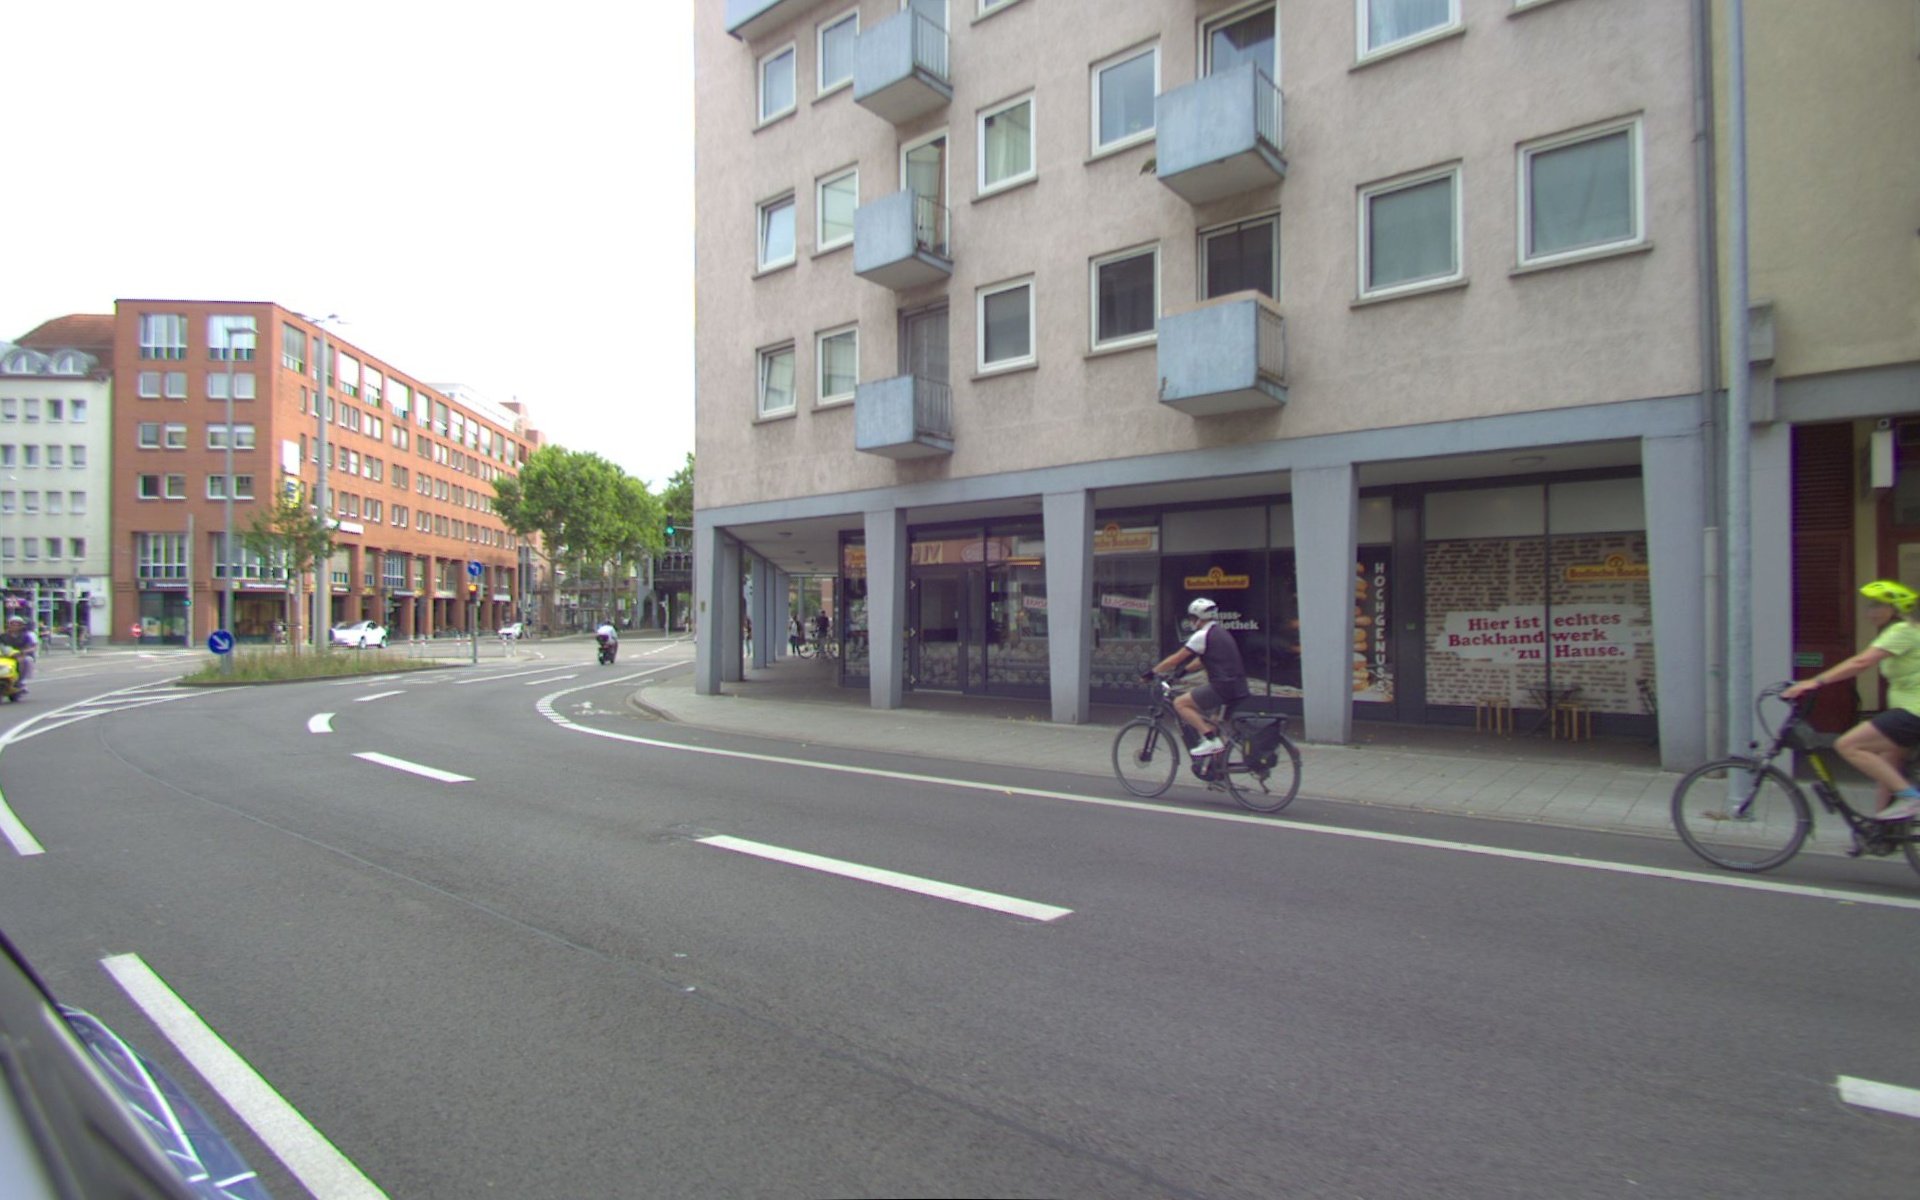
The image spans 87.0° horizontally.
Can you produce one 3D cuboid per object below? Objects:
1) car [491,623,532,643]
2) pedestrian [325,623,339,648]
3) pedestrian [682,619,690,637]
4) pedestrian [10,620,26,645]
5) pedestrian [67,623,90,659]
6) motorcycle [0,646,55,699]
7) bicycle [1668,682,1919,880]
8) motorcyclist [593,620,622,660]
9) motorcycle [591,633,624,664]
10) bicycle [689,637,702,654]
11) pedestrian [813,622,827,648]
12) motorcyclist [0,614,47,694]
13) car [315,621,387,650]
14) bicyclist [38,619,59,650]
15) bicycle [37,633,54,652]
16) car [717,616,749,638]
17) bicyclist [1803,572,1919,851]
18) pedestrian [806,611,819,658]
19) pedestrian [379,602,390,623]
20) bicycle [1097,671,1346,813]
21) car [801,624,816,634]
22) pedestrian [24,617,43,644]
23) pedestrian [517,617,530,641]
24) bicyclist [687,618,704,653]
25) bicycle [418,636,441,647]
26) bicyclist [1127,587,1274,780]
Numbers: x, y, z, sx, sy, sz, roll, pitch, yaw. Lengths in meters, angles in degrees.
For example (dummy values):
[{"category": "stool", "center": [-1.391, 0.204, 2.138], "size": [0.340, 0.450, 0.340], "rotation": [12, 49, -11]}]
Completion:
[{"category": "car", "center": [-37.512, 2.728, 84.736], "size": [1.929, 1.613, 4.004], "rotation": [0, -1, -5]}, {"category": "pedestrian", "center": [-43.455, 2.447, 70.059], "size": [0.631, 1.700, 0.601], "rotation": [0, -2, -6]}, {"category": "pedestrian", "center": [-24.774, 2.528, 91.455], "size": [0.648, 1.549, 0.560], "rotation": [0, 0, -9]}, {"category": "pedestrian", "center": [-58.143, 2.020, 62.464], "size": [0.627, 1.523, 0.586], "rotation": [-2, -2, 32]}, {"category": "pedestrian", "center": [-45.459, 2.110, 52.211], "size": [0.560, 1.838, 0.696], "rotation": [0, -2, -6]}, {"category": "motorcycle", "center": [-18.787, 1.419, 19.925], "size": [0.561, 0.975, 2.019], "rotation": [0, -2, -15]}, {"category": "bicycle", "center": [5.525, 1.024, 5.830], "size": [2.252, 1.014, 0.729], "rotation": [-3, -2, 44]}, {"category": "motorcyclist", "center": [-13.069, 1.480, 37.518], "size": [0.786, 1.471, 0.866], "rotation": [2, -2, -5]}, {"category": "motorcycle", "center": [-13.072, 1.798, 37.577], "size": [0.712, 1.103, 2.039], "rotation": [2, -3, -7]}, {"category": "bicycle", "center": [-12.981, 2.202, 49.673], "size": [0.403, 0.801, 2.001], "rotation": [0, -2, -9]}, {"category": "pedestrian", "center": [-8.194, 2.063, 59.230], "size": [0.787, 1.484, 0.685], "rotation": [0, -2, -5]}, {"category": "motorcyclist", "center": [-18.762, 1.050, 19.851], "size": [0.857, 1.528, 1.047], "rotation": [0, -2, -15]}, {"category": "car", "center": [-34.499, 1.992, 57.438], "size": [1.929, 1.613, 4.004], "rotation": [0, -1, -5]}, {"category": "bicyclist", "center": [-46.012, 1.744, 51.108], "size": [0.735, 1.571, 0.947], "rotation": [1, -3, -44]}, {"category": "bicycle", "center": [-46.217, 2.141, 51.143], "size": [0.535, 0.958, 1.808], "rotation": [1, -3, -44]}, {"category": "car", "center": [-17.758, 2.128, 79.420], "size": [1.810, 1.672, 4.328], "rotation": [0, -2, -4]}, {"category": "bicyclist", "center": [5.477, 0.608, 5.836], "size": [0.841, 1.537, 0.649], "rotation": [-3, -2, 44]}, {"category": "pedestrian", "center": [-5.623, 1.326, 38.626], "size": [0.470, 1.779, 0.590], "rotation": [0, -2, -6]}, {"category": "pedestrian", "center": [-45.489, 0.997, 80.034], "size": [0.402, 1.644, 0.731], "rotation": [1, -2, 2]}, {"category": "bicycle", "center": [2.177, 1.145, 8.624], "size": [1.910, 1.014, 0.729], "rotation": [-3, -2, 44]}, {"category": "car", "center": [-28.400, 5.451, 189.493], "size": [2.469, 1.962, 5.104], "rotation": [0, -2, -11]}, {"category": "pedestrian", "center": [-57.801, 1.878, 63.127], "size": [0.719, 1.660, 0.699], "rotation": [-2, -2, 32]}, {"category": "pedestrian", "center": [-33.808, 2.240, 78.423], "size": [0.683, 1.889, 0.807], "rotation": [0, -2, -5]}, {"category": "bicyclist", "center": [-12.922, 1.737, 49.497], "size": [0.703, 1.662, 0.973], "rotation": [0, -2, -7]}, {"category": "bicycle", "center": [-48.099, 3.767, 91.734], "size": [1.832, 1.048, 0.508], "rotation": [0, -2, -5]}, {"category": "bicyclist", "center": [2.046, 0.673, 8.650], "size": [1.002, 1.537, 0.649], "rotation": [-2, -1, 44]}]
